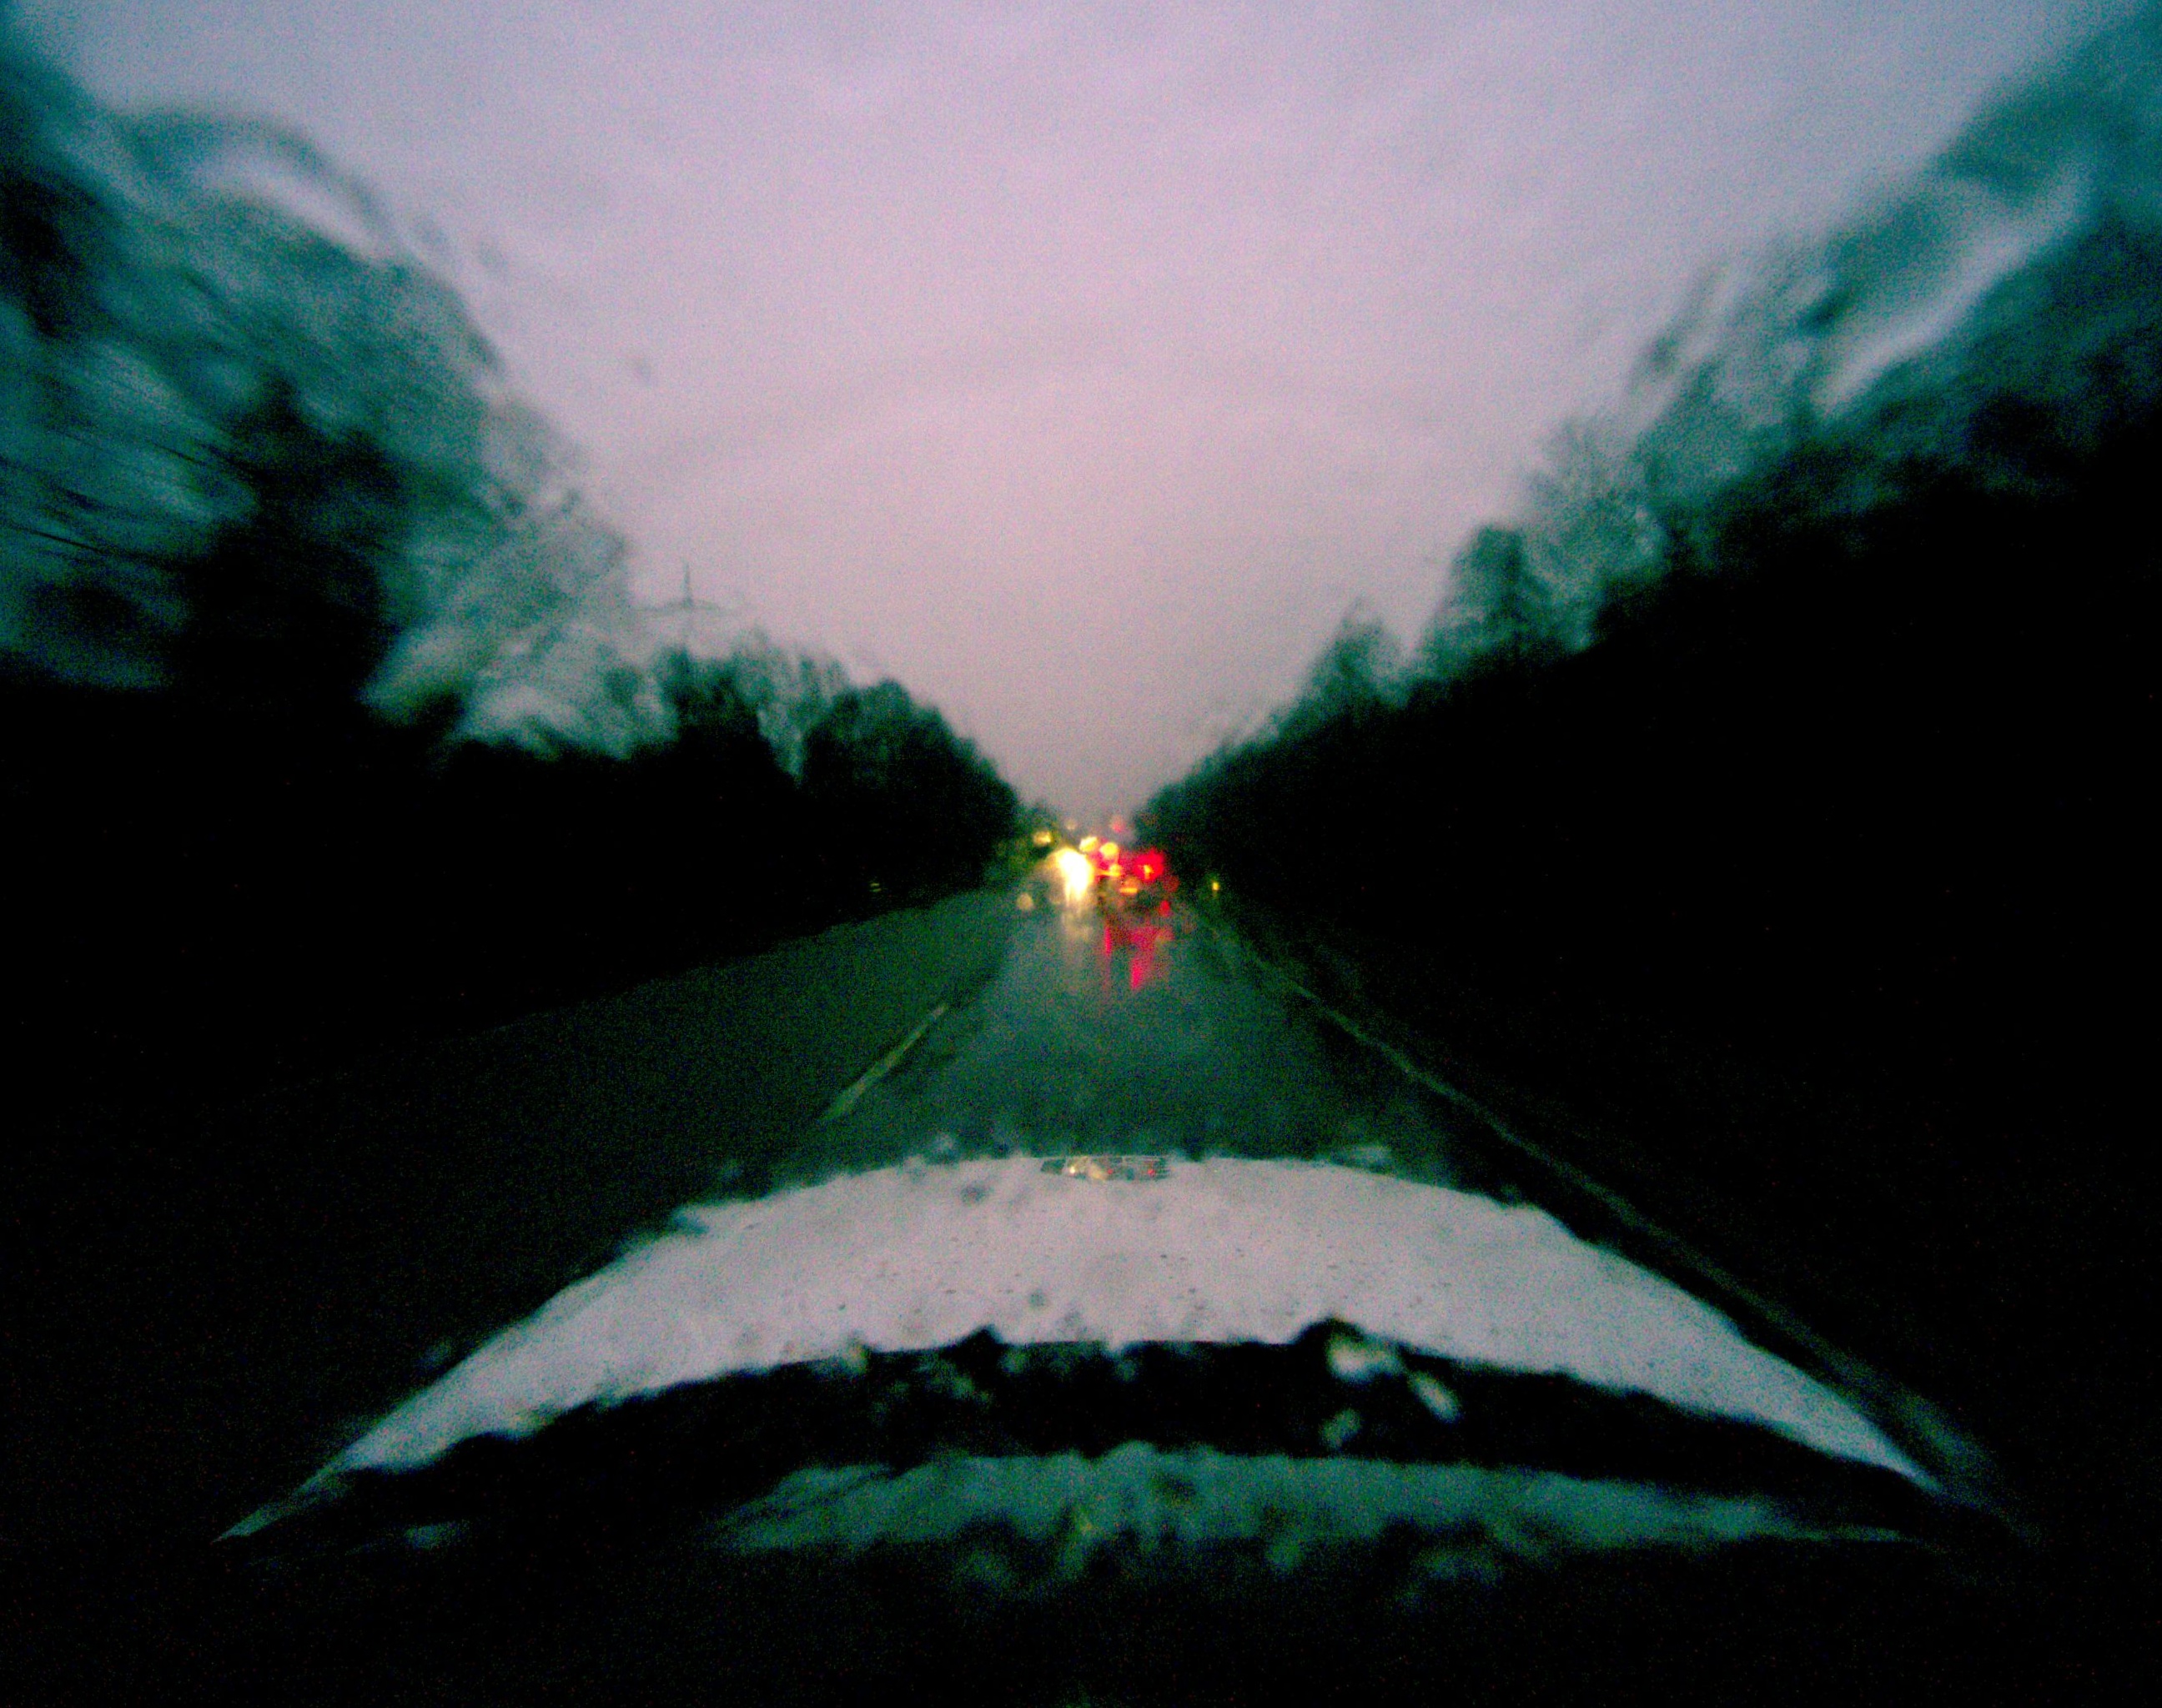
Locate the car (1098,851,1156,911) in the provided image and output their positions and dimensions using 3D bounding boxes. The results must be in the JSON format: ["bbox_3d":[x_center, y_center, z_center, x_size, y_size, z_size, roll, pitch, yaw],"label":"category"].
[{"bbox_3d":[1.408,0.781,24.830,1.641,1.672,3.517,-1,0,3],"label":"car"}]

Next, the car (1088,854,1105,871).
[{"bbox_3d":[1.586,0.877,85.211,1.727,1.779,4.001,-1,0,1],"label":"car"}]

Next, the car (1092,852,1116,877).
[{"bbox_3d":[1.729,0.769,61.509,1.727,1.779,4.001,-1,0,1],"label":"car"}]
